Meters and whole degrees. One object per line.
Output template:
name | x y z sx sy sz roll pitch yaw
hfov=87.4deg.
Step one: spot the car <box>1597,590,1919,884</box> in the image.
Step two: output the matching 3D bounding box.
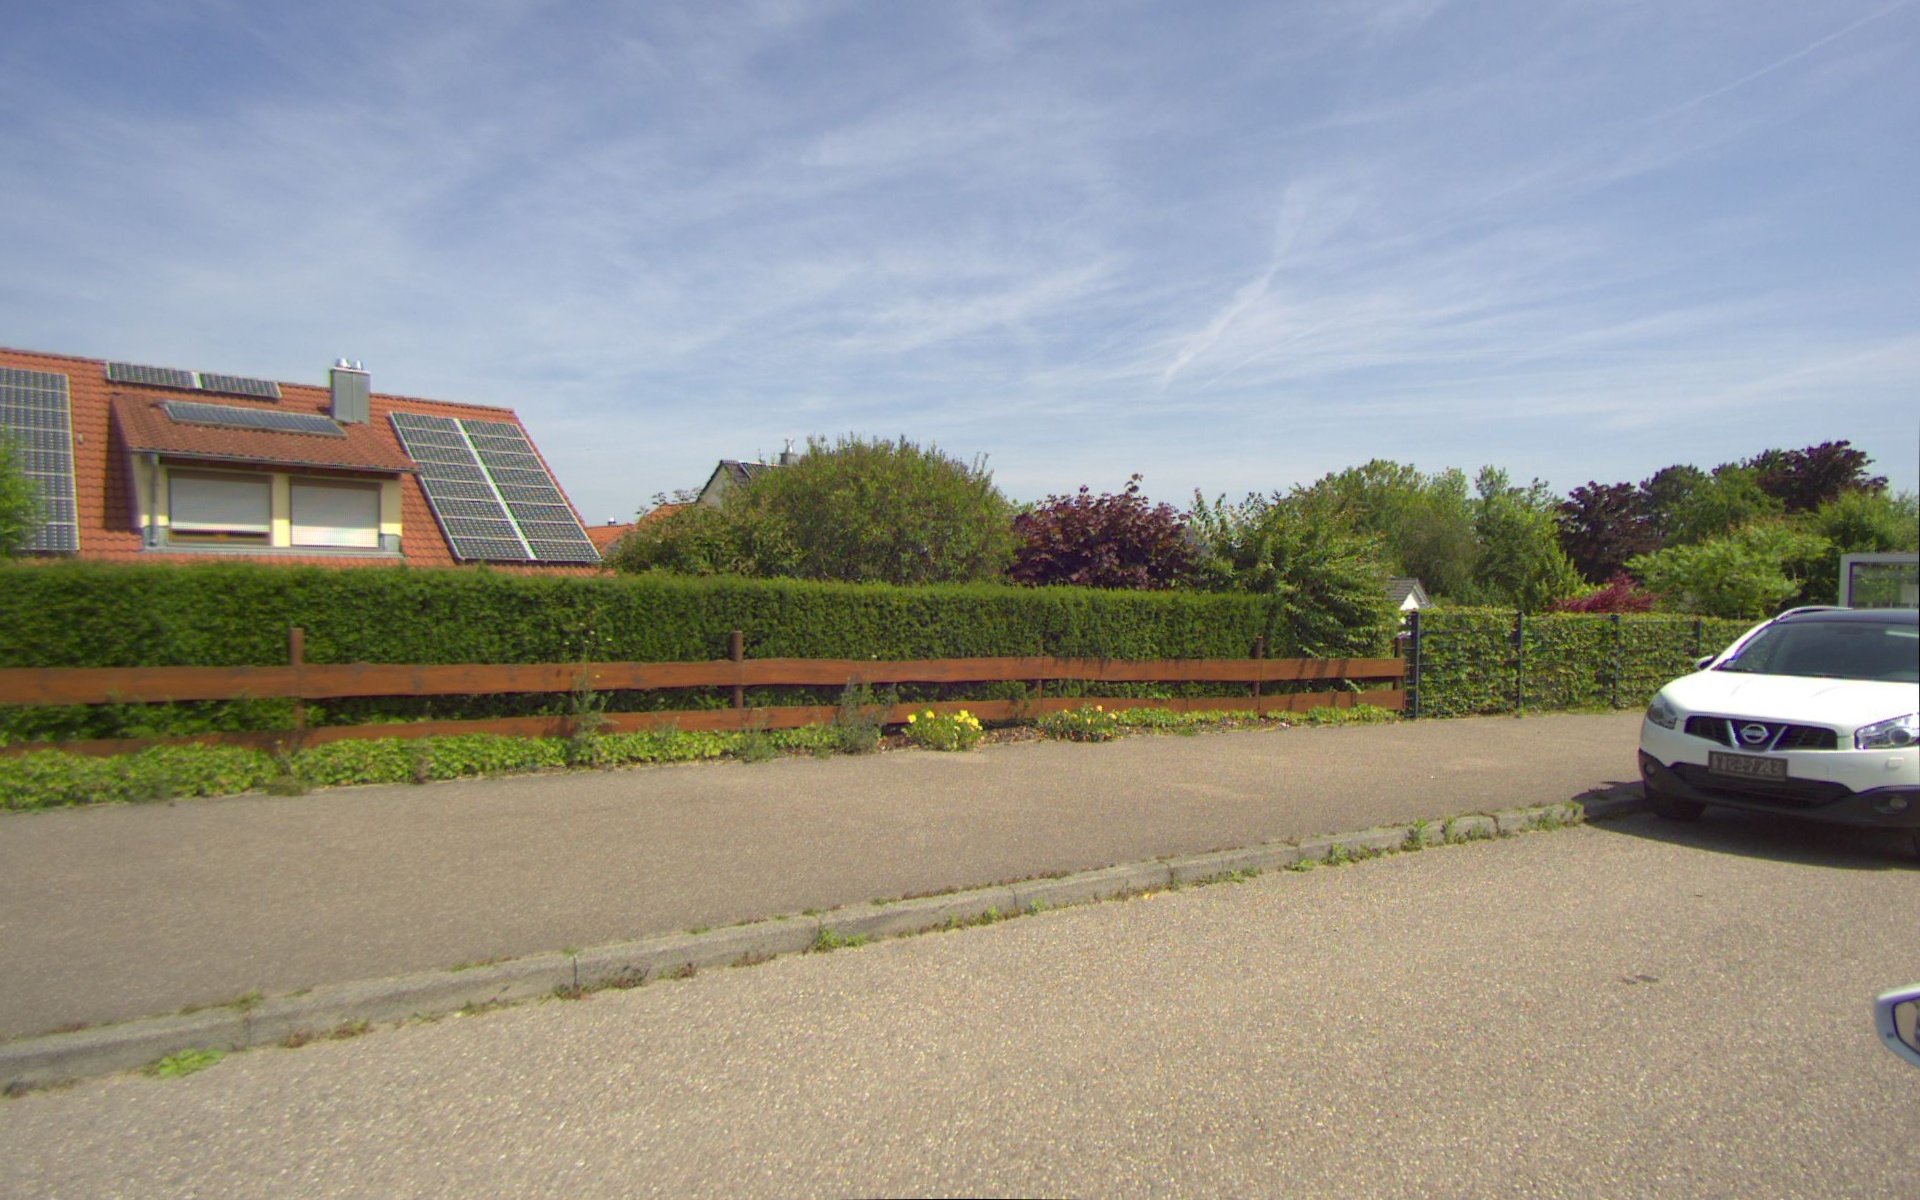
car | 6.796 0.826 7.515 4.304 1.655 1.725 2 0 -32
